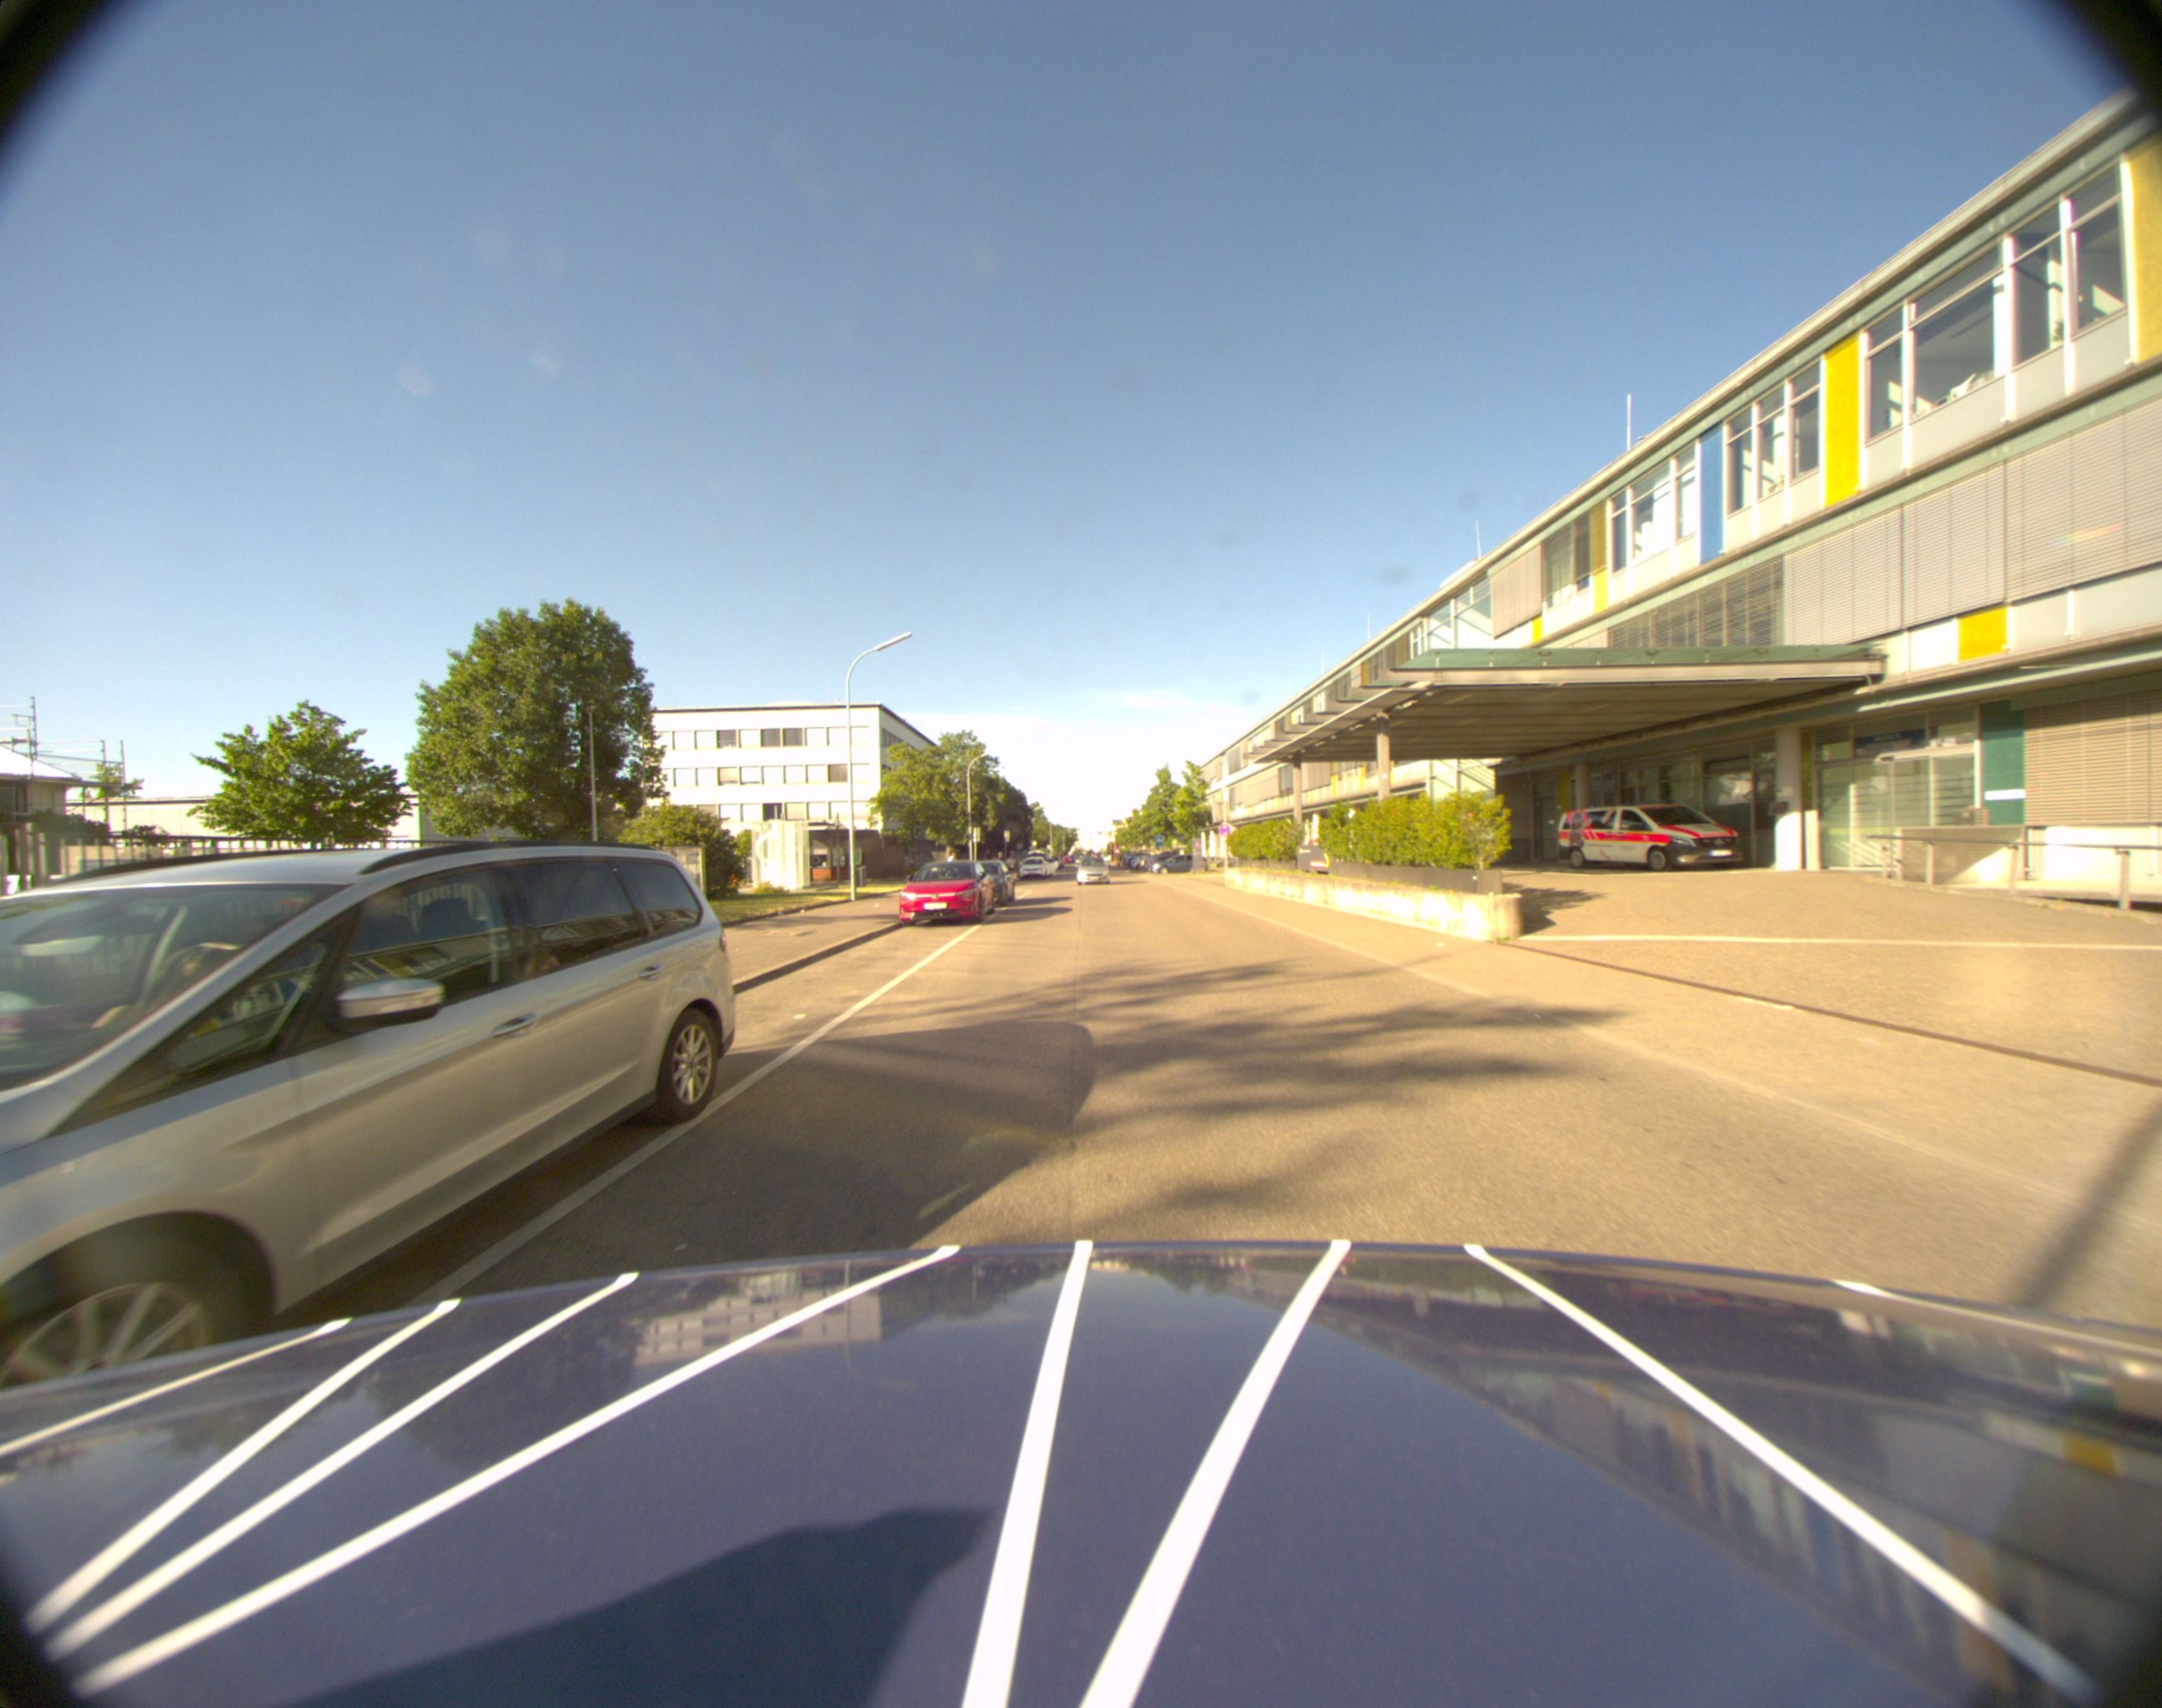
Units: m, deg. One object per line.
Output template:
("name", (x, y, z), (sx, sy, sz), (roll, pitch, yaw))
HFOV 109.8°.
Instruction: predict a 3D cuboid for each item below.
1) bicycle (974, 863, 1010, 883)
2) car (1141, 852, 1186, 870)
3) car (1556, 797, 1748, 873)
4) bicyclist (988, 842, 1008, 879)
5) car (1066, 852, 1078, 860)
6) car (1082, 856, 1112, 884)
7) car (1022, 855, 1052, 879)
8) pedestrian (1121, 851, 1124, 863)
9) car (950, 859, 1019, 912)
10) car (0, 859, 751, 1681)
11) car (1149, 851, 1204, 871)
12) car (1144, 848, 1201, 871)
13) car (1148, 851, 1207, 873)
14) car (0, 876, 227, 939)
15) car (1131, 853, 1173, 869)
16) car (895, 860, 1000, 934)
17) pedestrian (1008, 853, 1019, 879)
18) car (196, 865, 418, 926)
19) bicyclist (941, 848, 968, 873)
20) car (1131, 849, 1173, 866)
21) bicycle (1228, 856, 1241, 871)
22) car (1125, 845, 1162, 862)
("bicycle", (-4.917, 1.051, 42.154), (1.884, 1.002, 0.701), (2, -4, -2))
("car", (7.740, 0.631, 71.415), (3.991, 1.480, 1.823), (-3, 1, -1))
("car", (16.005, -0.488, 21.683), (1.924, 1.880, 4.711), (-1, 0, 0))
("bicyclist", (-4.604, 0.362, 42.185), (1.052, 2.001, 0.959), (0, 0, -2))
("car", (-1.591, 0.377, 137.339), (1.999, 1.382, 3.998), (0, 0, -4))
("car", (0.862, 0.831, 40.387), (1.551, 1.389, 3.454), (0, 0, 2))
("car", (-2.995, 0.847, 52.670), (1.668, 1.505, 4.114), (-3, 0, 1))
("pedestrian", (6.037, 0.429, 109.799), (0.369, 1.712, 0.479), (-3, 5, -3))
("car", (-3.112, 0.961, 25.172), (1.705, 1.478, 4.214), (-3, 0, -1))
("car", (-3.254, 0.941, 2.989), (1.814, 1.712, 4.703), (-3, 0, -1))
("car", (7.369, 0.540, 58.915), (3.998, 1.429, 1.730), (-2, 1, -2))
("car", (7.385, 0.435, 61.522), (4.232, 1.642, 1.960), (-2, 1, -2))
("car", (7.114, 0.585, 56.304), (4.142, 1.458, 1.753), (-2, 0, -1))
("car", (-24.217, 1.294, 18.888), (3.899, 1.371, 1.675), (-1, 0, -3))
("car", (7.331, 0.681, 78.466), (4.102, 1.414, 1.823), (-3, 1, -1))
("car", (-3.237, 0.983, 19.368), (1.814, 1.501, 4.721), (-3, 0, -1))
("pedestrian", (-4.454, 0.781, 50.279), (0.693, 1.718, 0.775), (0, 1, 0))
("car", (-24.037, 1.251, 23.767), (4.642, 1.658, 1.999), (-1, 0, -5))
("bicyclist", (-6.638, 0.348, 39.784), (1.098, 1.261, 0.863), (-1, 0, 16))
("car", (7.830, 0.416, 84.089), (4.360, 1.618, 1.999), (-3, 1, -4))
("bicycle", (11.930, 0.704, 59.104), (0.637, 1.136, 1.779), (-1, 0, -1))
("car", (7.674, -0.045, 94.225), (4.359, 1.852, 2.000), (-3, 0, 1))
